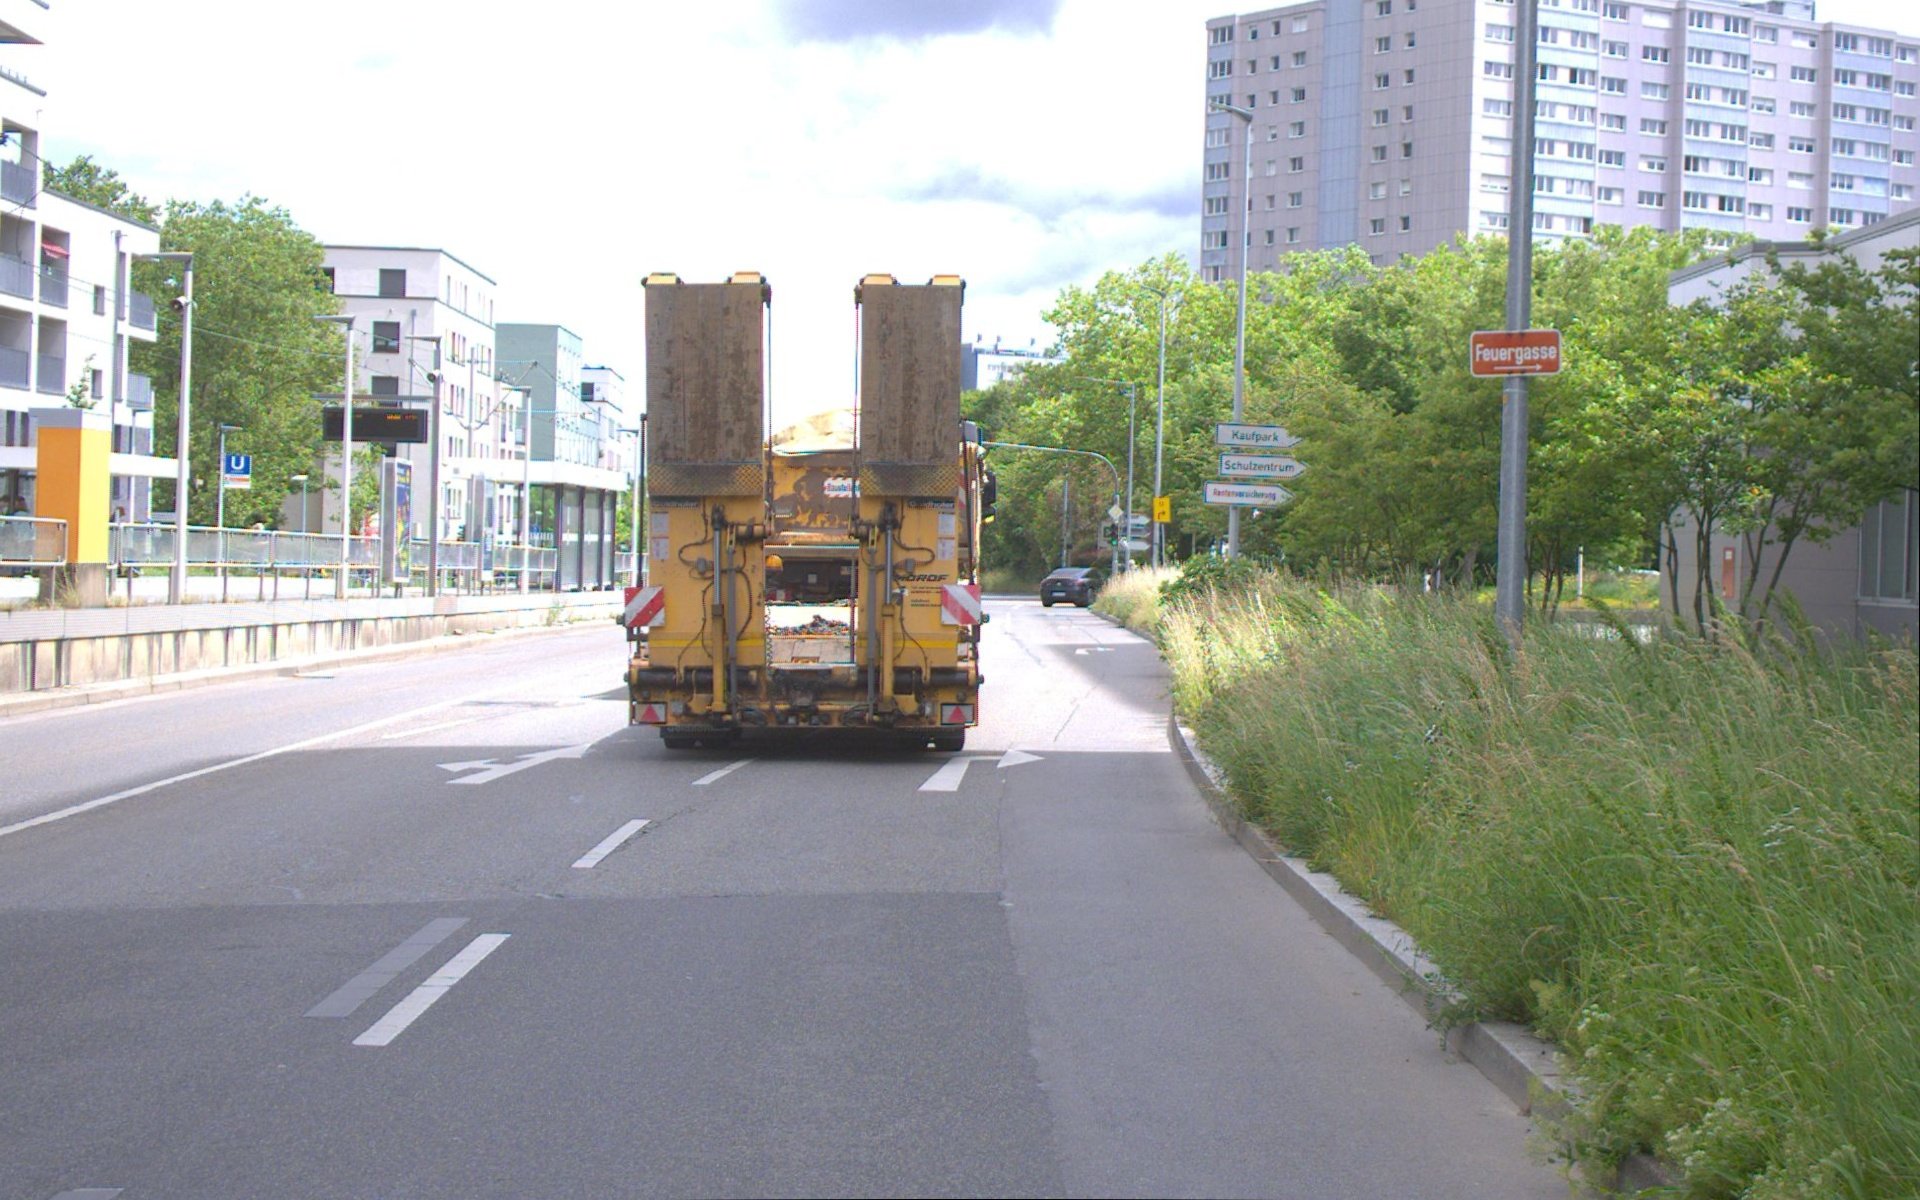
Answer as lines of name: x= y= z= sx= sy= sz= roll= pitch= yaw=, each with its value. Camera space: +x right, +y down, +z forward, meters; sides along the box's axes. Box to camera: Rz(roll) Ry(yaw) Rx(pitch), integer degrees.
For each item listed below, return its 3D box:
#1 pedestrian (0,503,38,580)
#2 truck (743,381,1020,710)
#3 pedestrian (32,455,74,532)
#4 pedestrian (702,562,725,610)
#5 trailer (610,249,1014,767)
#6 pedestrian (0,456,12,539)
pedestrian: x=-19.675 y=-1.214 z=71.692 sx=0.488 sy=1.591 sz=0.676 roll=2 pitch=1 yaw=44
truck: x=-0.766 y=-0.600 z=39.489 sx=2.753 sy=3.302 sz=8.352 roll=2 pitch=1 yaw=1
pedestrian: x=-19.258 y=-2.261 z=73.003 sx=0.488 sy=1.591 sz=0.676 roll=2 pitch=0 yaw=36
pedestrian: x=-8.276 y=-0.473 z=115.447 sx=0.681 sy=1.597 sz=0.823 roll=2 pitch=0 yaw=0
trailer: x=-0.961 y=-0.695 z=29.688 sx=2.729 sy=3.546 sz=11.253 roll=2 pitch=1 yaw=1
pedestrian: x=-20.250 y=-2.150 z=72.101 sx=0.487 sy=1.719 sz=0.678 roll=1 pitch=0 yaw=-33
